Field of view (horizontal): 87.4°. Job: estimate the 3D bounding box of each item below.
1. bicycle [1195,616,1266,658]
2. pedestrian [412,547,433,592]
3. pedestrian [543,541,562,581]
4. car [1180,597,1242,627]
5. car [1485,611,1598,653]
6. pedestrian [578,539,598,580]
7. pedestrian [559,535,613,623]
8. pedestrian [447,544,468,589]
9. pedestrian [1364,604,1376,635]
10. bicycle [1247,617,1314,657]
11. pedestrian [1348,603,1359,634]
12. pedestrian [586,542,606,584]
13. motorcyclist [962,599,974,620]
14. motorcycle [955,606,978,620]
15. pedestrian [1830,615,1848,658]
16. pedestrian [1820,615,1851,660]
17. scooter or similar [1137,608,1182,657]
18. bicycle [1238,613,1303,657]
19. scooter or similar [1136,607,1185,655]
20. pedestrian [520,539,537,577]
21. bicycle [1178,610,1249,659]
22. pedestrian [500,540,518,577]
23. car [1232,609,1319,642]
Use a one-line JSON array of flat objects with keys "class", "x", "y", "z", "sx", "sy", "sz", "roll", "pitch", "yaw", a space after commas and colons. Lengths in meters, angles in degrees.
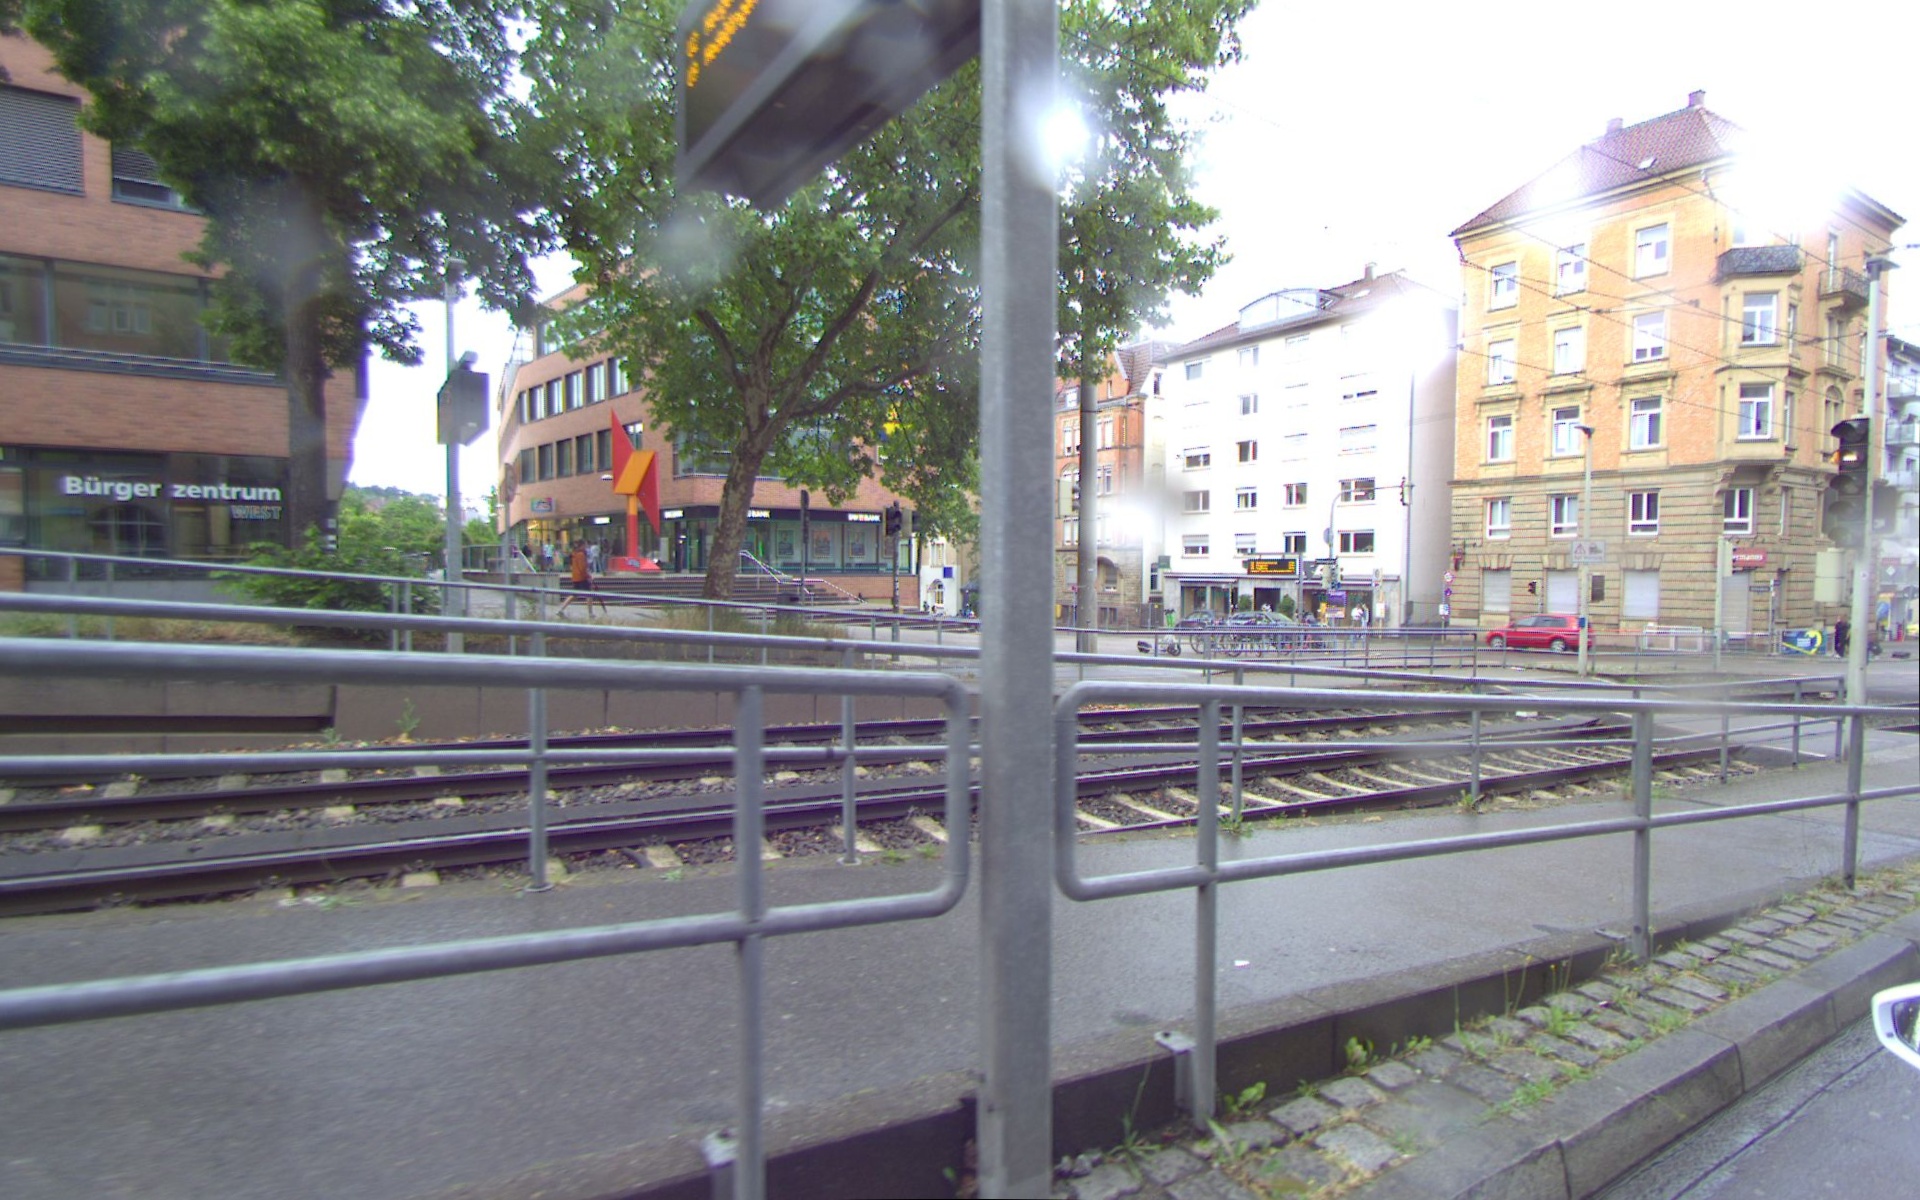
[{"class": "bicycle", "x": 7.453, "y": 1.004, "z": 27.743, "sx": 0.514, "sy": 1.076, "sz": 1.852, "roll": 1, "pitch": 1, "yaw": -44}, {"class": "pedestrian", "x": -25.075, "y": -1.408, "z": 46.850, "sx": 0.711, "sy": 2.040, "sz": 0.713, "roll": 1, "pitch": 0, "yaw": -38}, {"class": "pedestrian", "x": -20.979, "y": -1.998, "z": 51.739, "sx": 0.711, "sy": 2.040, "sz": 0.713, "roll": 1, "pitch": 0, "yaw": -38}, {"class": "car", "x": 13.982, "y": 0.661, "z": 56.078, "sx": 1.413, "sy": 1.509, "sz": 3.123, "roll": 0, "pitch": 2, "yaw": -42}, {"class": "car", "x": 23.298, "y": 1.264, "z": 40.330, "sx": 1.668, "sy": 1.509, "sz": 3.579, "roll": 1, "pitch": 0, "yaw": -34}, {"class": "pedestrian", "x": -18.931, "y": -2.046, "z": 51.107, "sx": 0.707, "sy": 2.040, "sz": 0.716, "roll": 1, "pitch": 0, "yaw": 44}, {"class": "pedestrian", "x": -8.915, "y": -0.487, "z": 23.958, "sx": 0.973, "sy": 2.040, "sz": 0.726, "roll": 1, "pitch": 1, "yaw": -41}, {"class": "pedestrian", "x": -23.172, "y": -1.543, "z": 46.285, "sx": 0.711, "sy": 2.040, "sz": 0.713, "roll": 1, "pitch": 0, "yaw": -38}, {"class": "pedestrian", "x": 22.061, "y": 1.050, "z": 54.046, "sx": 0.507, "sy": 1.643, "sz": 0.486, "roll": 2, "pitch": 1, "yaw": 18}, {"class": "bicycle", "x": 9.452, "y": 1.071, "z": 29.687, "sx": 0.514, "sy": 1.079, "sz": 1.852, "roll": 1, "pitch": 1, "yaw": -43}, {"class": "pedestrian", "x": 21.359, "y": 0.999, "z": 54.521, "sx": 0.507, "sy": 1.643, "sz": 0.486, "roll": 2, "pitch": 1, "yaw": 18}, {"class": "pedestrian", "x": -18.085, "y": -1.809, "z": 49.948, "sx": 0.711, "sy": 2.040, "sz": 0.713, "roll": 1, "pitch": 0, "yaw": -38}, {"class": "motorcyclist", "x": 0.536, "y": 0.644, "z": 68.375, "sx": 0.582, "sy": 1.404, "sz": 0.617, "roll": 1, "pitch": 0, "yaw": -35}, {"class": "motorcycle", "x": 0.450, "y": 0.861, "z": 68.502, "sx": 0.590, "sy": 0.895, "sz": 1.849, "roll": 1, "pitch": 0, "yaw": -35}, {"class": "pedestrian", "x": 35.461, "y": 1.468, "z": 40.521, "sx": 0.512, "sy": 1.688, "sz": 0.474, "roll": 1, "pitch": 0, "yaw": 42}, {"class": "pedestrian", "x": 33.932, "y": 1.445, "z": 38.927, "sx": 0.667, "sy": 1.683, "sz": 0.676, "roll": 1, "pitch": 0, "yaw": -27}, {"class": "scooter or similar", "x": 5.120, "y": 0.828, "z": 25.810, "sx": 1.090, "sy": 1.211, "sz": 0.362, "roll": 2, "pitch": 1, "yaw": 6}, {"class": "bicycle", "x": 8.973, "y": 0.995, "z": 29.084, "sx": 0.514, "sy": 1.158, "sz": 1.749, "roll": 1, "pitch": 1, "yaw": -43}, {"class": "scooter or similar", "x": 5.275, "y": 0.812, "z": 26.453, "sx": 1.226, "sy": 1.211, "sz": 0.299, "roll": 2, "pitch": 1, "yaw": 6}, {"class": "pedestrian", "x": -24.042, "y": -2.342, "z": 55.937, "sx": 0.711, "sy": 2.040, "sz": 0.713, "roll": 1, "pitch": 1, "yaw": -37}, {"class": "bicycle", "x": 6.787, "y": 0.898, "z": 26.953, "sx": 0.514, "sy": 1.211, "sz": 1.852, "roll": 1, "pitch": 1, "yaw": -43}, {"class": "pedestrian", "x": -25.123, "y": -2.314, "z": 55.963, "sx": 0.711, "sy": 2.040, "sz": 0.713, "roll": 1, "pitch": 0, "yaw": -38}, {"class": "car", "x": 14.640, "y": 1.155, "z": 46.792, "sx": 1.669, "sy": 1.422, "sz": 3.577, "roll": 1, "pitch": 0, "yaw": -35}]
